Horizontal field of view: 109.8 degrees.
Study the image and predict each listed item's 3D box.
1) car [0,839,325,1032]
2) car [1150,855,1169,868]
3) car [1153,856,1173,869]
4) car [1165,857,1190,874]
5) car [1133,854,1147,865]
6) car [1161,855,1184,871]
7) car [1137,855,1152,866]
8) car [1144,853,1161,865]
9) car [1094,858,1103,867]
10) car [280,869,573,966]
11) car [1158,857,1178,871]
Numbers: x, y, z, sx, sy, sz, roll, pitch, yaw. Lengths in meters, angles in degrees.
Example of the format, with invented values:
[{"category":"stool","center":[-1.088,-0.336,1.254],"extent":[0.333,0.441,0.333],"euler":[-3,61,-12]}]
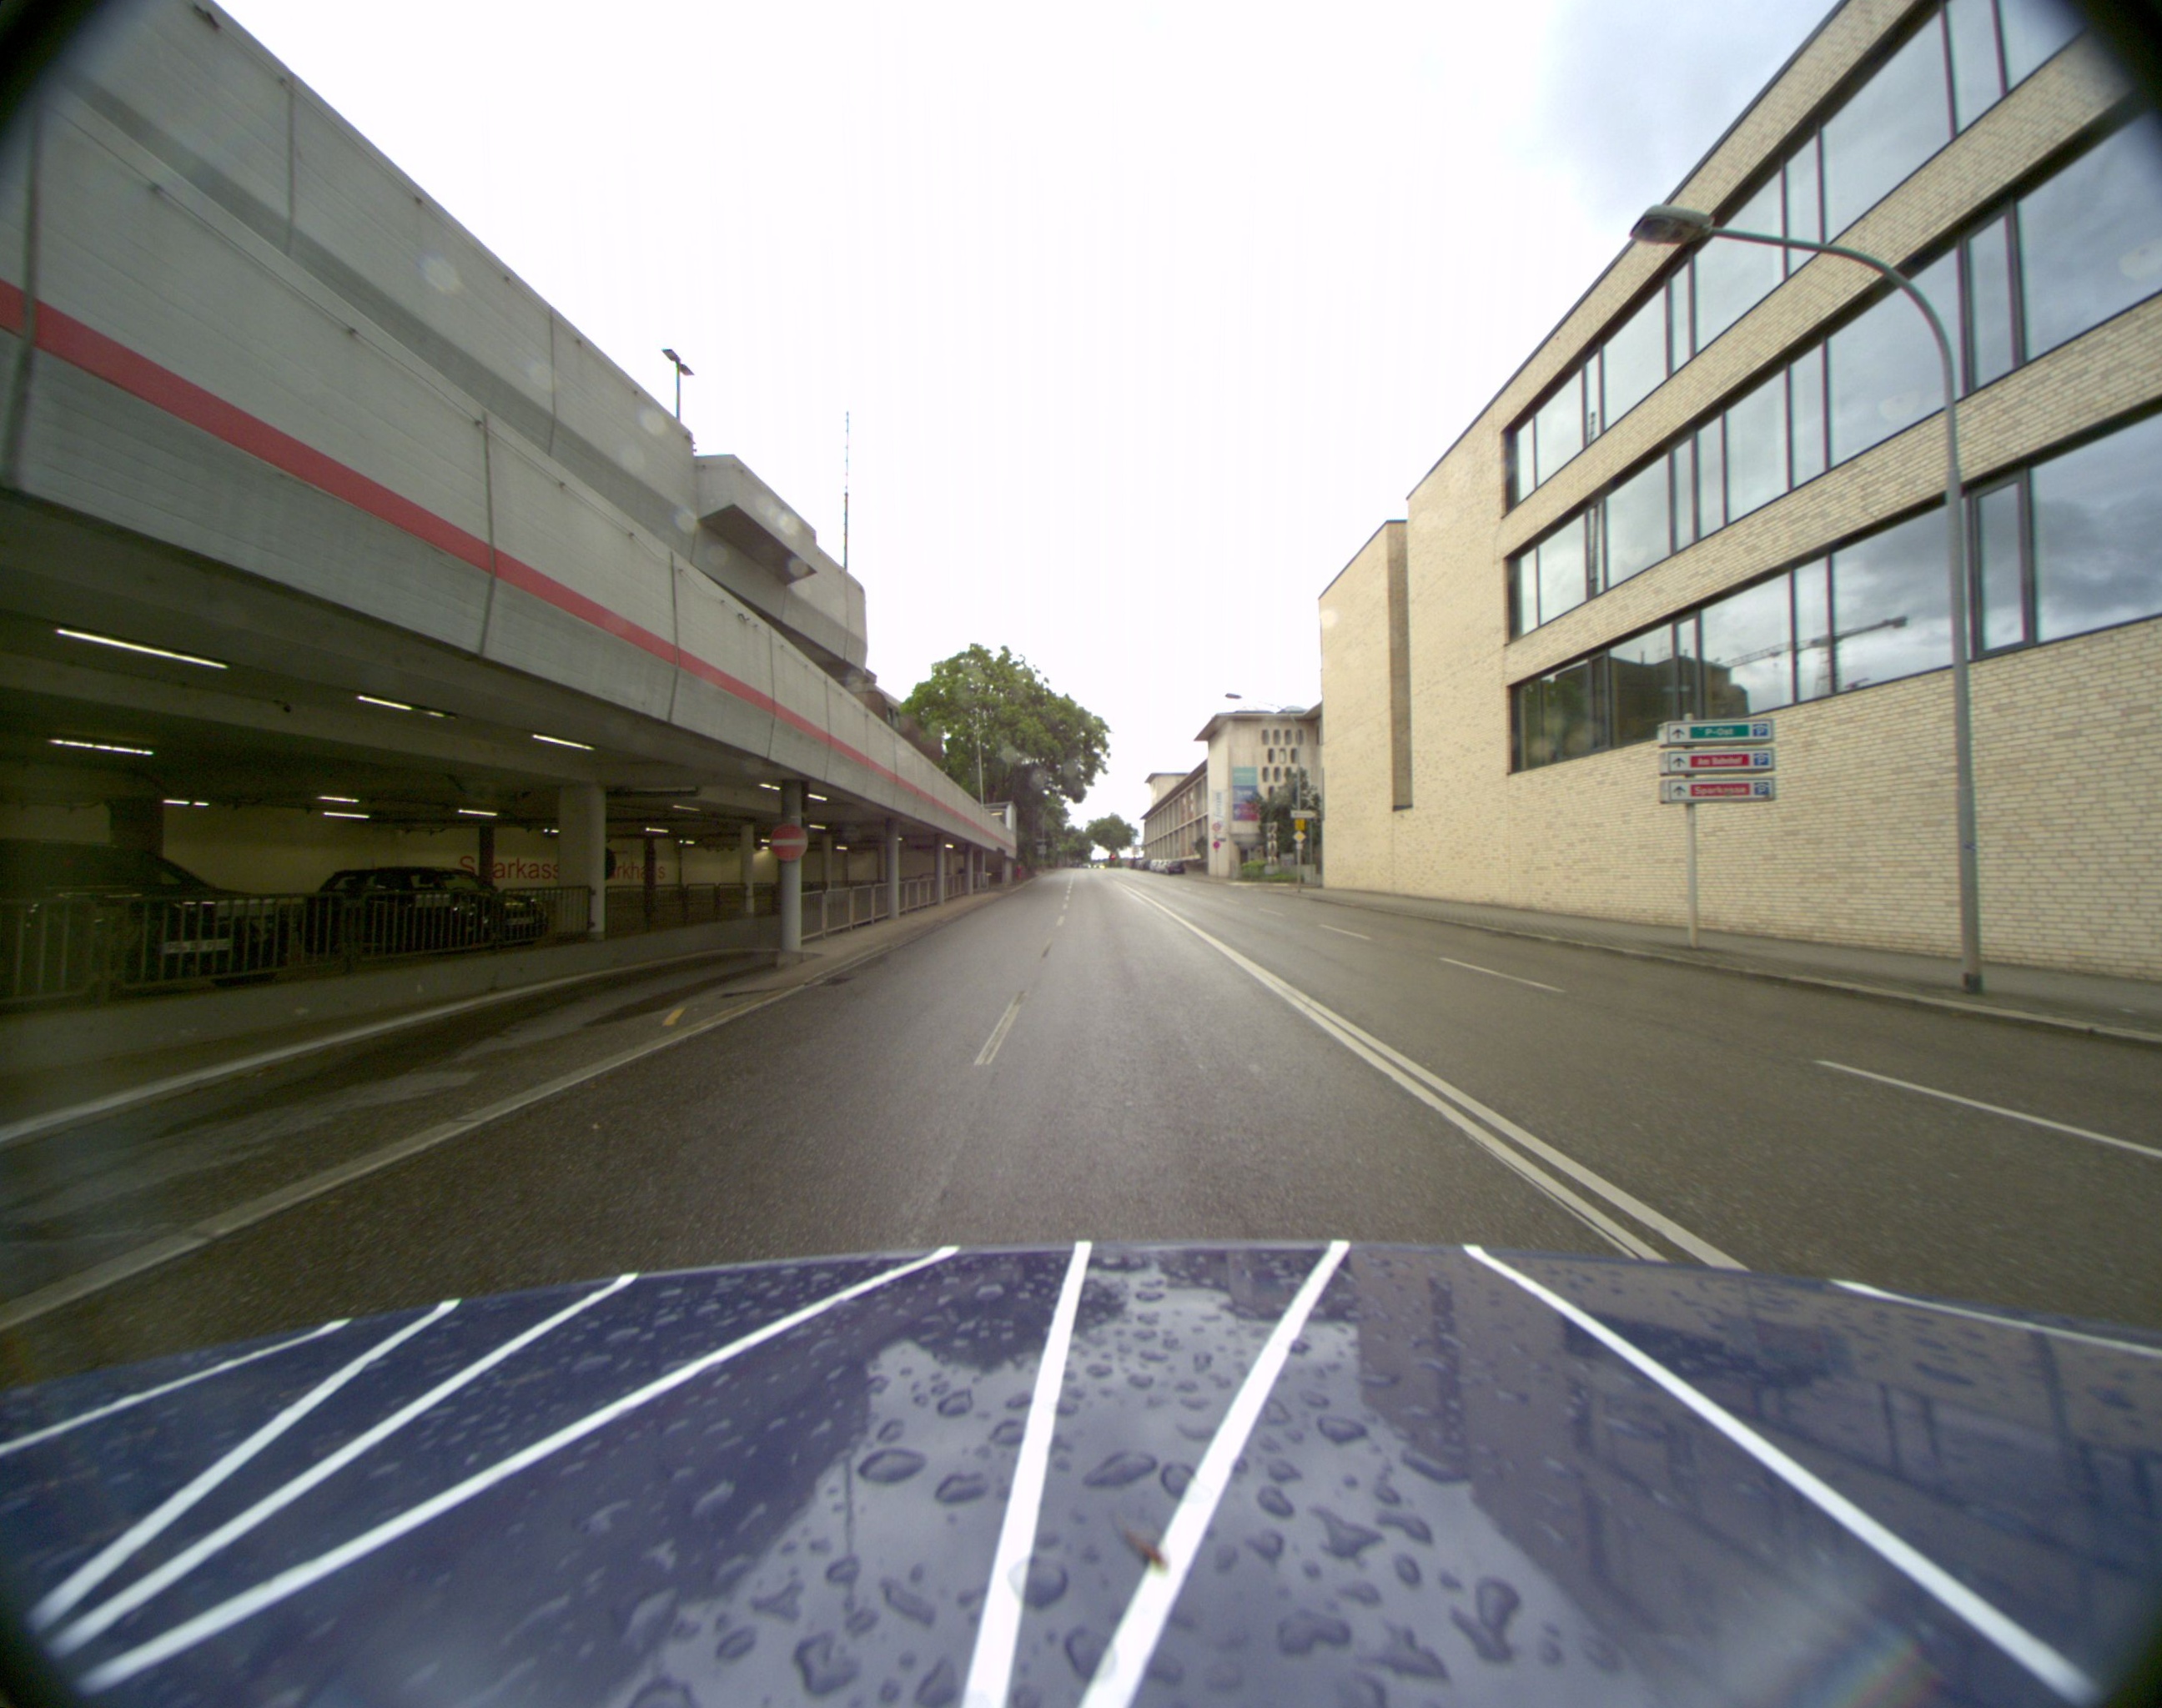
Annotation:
[{"category":"car","center":[-10.610,0.766,7.694],"extent":[4.584,1.630,1.823],"euler":[-2,1,11]},{"category":"car","center":[10.456,1.039,101.715],"extent":[1.999,1.521,3.999],"euler":[-3,1,-1]},{"category":"car","center":[10.269,1.073,95.211],"extent":[1.998,1.482,4.185],"euler":[-3,1,0]},{"category":"car","center":[10.104,1.174,79.720],"extent":[1.999,1.520,3.999],"euler":[-3,1,-1]},{"category":"car","center":[10.137,0.909,131.474],"extent":[1.999,1.637,3.998],"euler":[-4,2,-1]},{"category":"car","center":[10.202,0.991,85.057],"extent":[1.998,1.632,3.999],"euler":[-3,1,0]},{"category":"car","center":[10.304,1.064,122.715],"extent":[1.999,1.528,3.999],"euler":[-3,1,0]},{"category":"car","center":[10.389,0.700,110.163],"extent":[1.999,1.701,3.999],"euler":[-2,1,0]},{"category":"car","center":[4.708,2.236,201.319],"extent":[1.805,2.002,3.997],"euler":[-3,1,-5]},{"category":"car","center":[-11.078,1.009,13.000],"extent":[3.729,1.496,1.809],"euler":[0,-1,9]},{"category":"car","center":[10.302,1.215,90.474],"extent":[1.998,1.503,4.000],"euler":[-3,1,1]}]
